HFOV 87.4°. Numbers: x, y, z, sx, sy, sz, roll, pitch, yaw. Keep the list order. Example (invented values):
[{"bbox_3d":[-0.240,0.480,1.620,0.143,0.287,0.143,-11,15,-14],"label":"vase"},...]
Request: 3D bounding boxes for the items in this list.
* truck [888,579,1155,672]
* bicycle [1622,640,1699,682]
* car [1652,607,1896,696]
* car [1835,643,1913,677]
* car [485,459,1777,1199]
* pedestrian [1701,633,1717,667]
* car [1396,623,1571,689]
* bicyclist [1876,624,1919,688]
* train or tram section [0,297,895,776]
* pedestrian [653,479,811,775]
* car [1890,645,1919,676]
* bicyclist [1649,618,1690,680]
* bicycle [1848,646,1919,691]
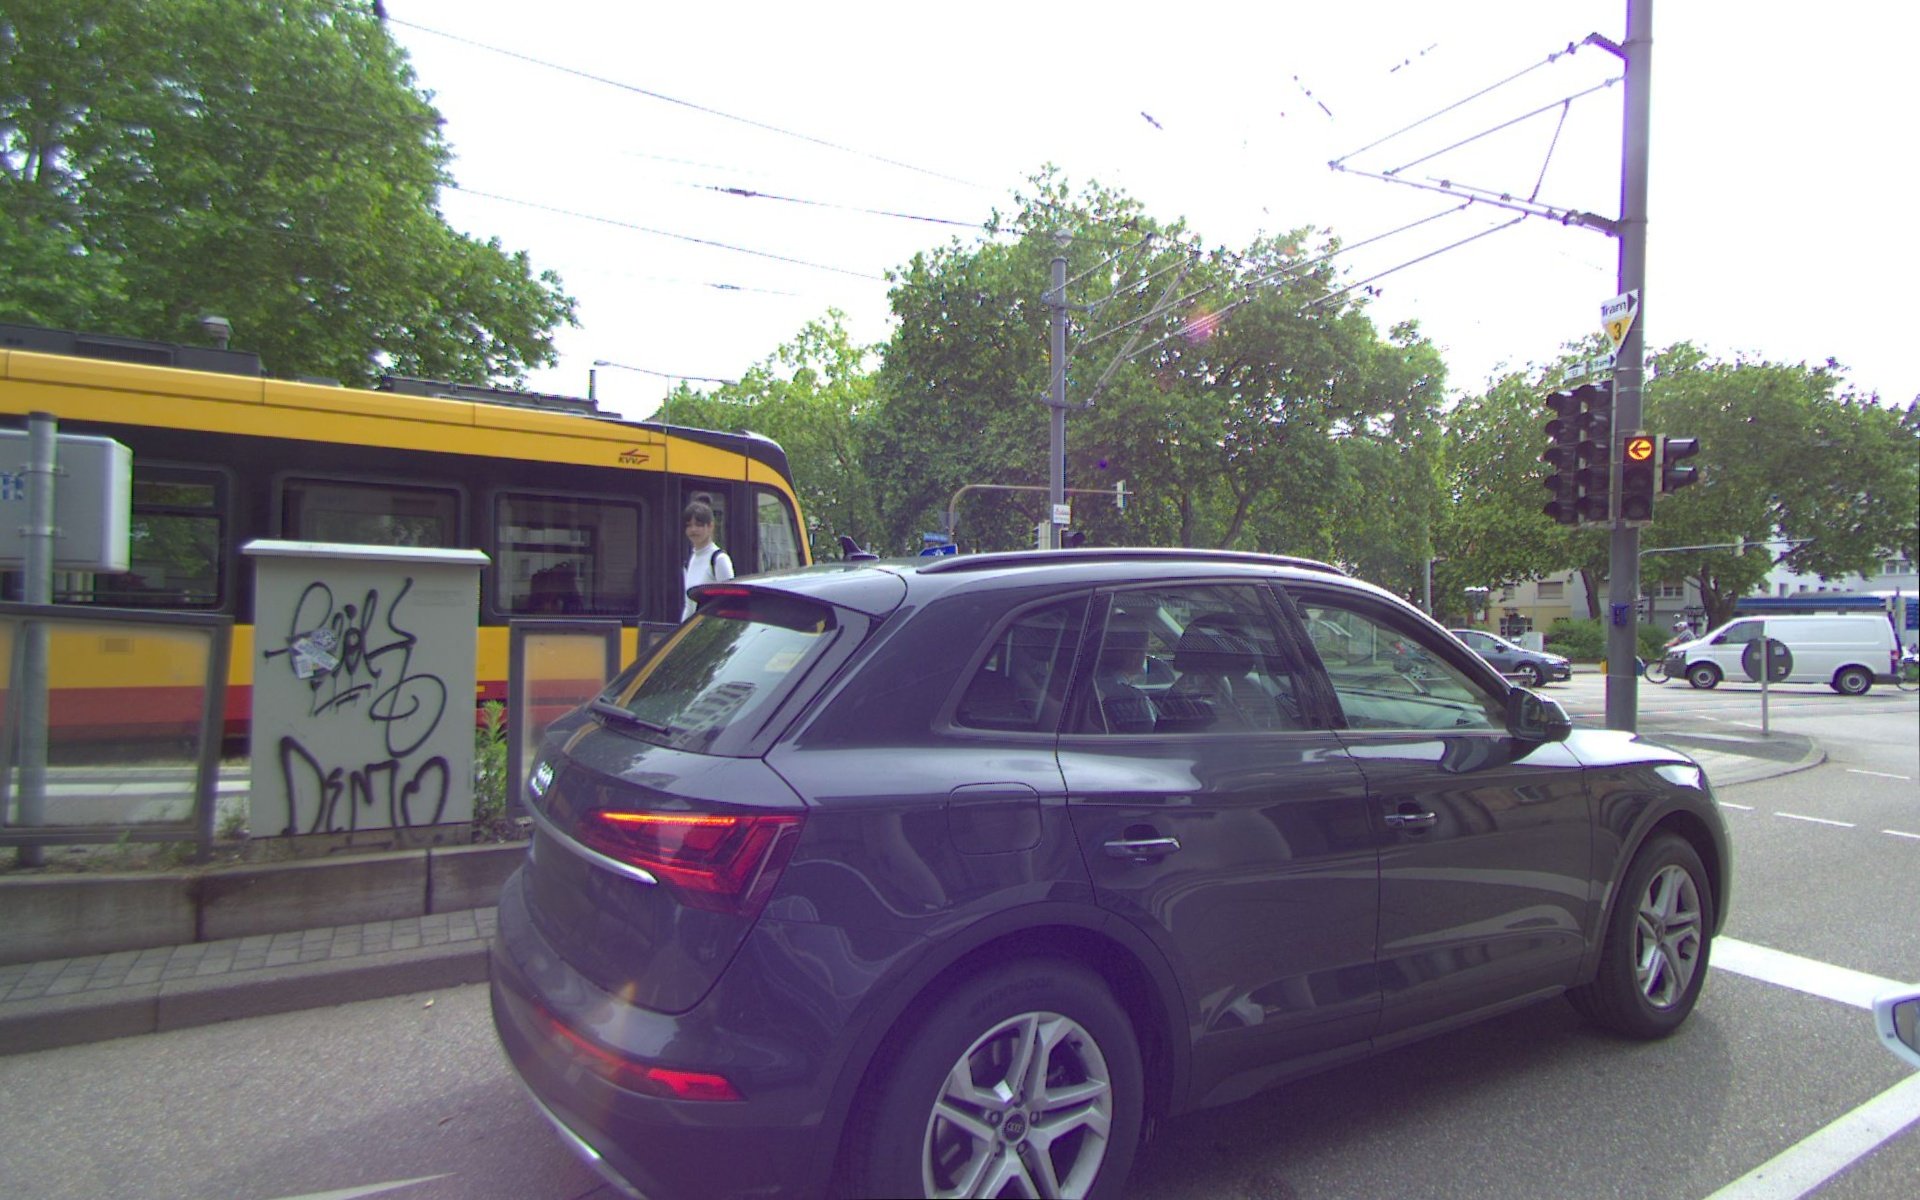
[{"bbox_3d":[1.969,0.793,36.741,10.019,2.980,2.627,1,0,38],"label":"truck"},{"bbox_3d":[21.390,1.852,30.711,1.873,1.158,0.627,2,0,32],"label":"bicycle"},{"bbox_3d":[21.178,1.282,26.467,4.798,1.993,1.983,2,0,35],"label":"car"},{"bbox_3d":[46.850,3.083,51.474,3.792,1.578,1.885,2,0,-30],"label":"car"},{"bbox_3d":[0.807,0.651,3.538,4.308,1.622,1.870,2,-1,-31],"label":"car"},{"bbox_3d":[40.890,2.711,54.825,0.541,1.808,0.375,2,0,-6],"label":"pedestrian"},{"bbox_3d":[14.011,1.440,26.939,3.927,1.489,1.835,2,0,36],"label":"car"},{"bbox_3d":[25.944,1.541,27.646,1.026,1.706,0.641,2,0,41],"label":"bicyclist"},{"bbox_3d":[-8.288,-0.504,8.825,15.665,3.636,3.045,2,0,-31],"label":"train or tram section"},{"bbox_3d":[-1.425,0.163,6.219,0.722,1.683,0.750,2,0,-30],"label":"pedestrian"},{"bbox_3d":[52.854,3.312,54.959,3.792,1.578,1.885,2,0,-30],"label":"car"},{"bbox_3d":[21.604,1.476,30.592,0.951,1.843,0.531,2,0,32],"label":"bicyclist"},{"bbox_3d":[25.812,1.888,27.724,1.914,1.151,0.732,2,0,40],"label":"bicycle"}]
